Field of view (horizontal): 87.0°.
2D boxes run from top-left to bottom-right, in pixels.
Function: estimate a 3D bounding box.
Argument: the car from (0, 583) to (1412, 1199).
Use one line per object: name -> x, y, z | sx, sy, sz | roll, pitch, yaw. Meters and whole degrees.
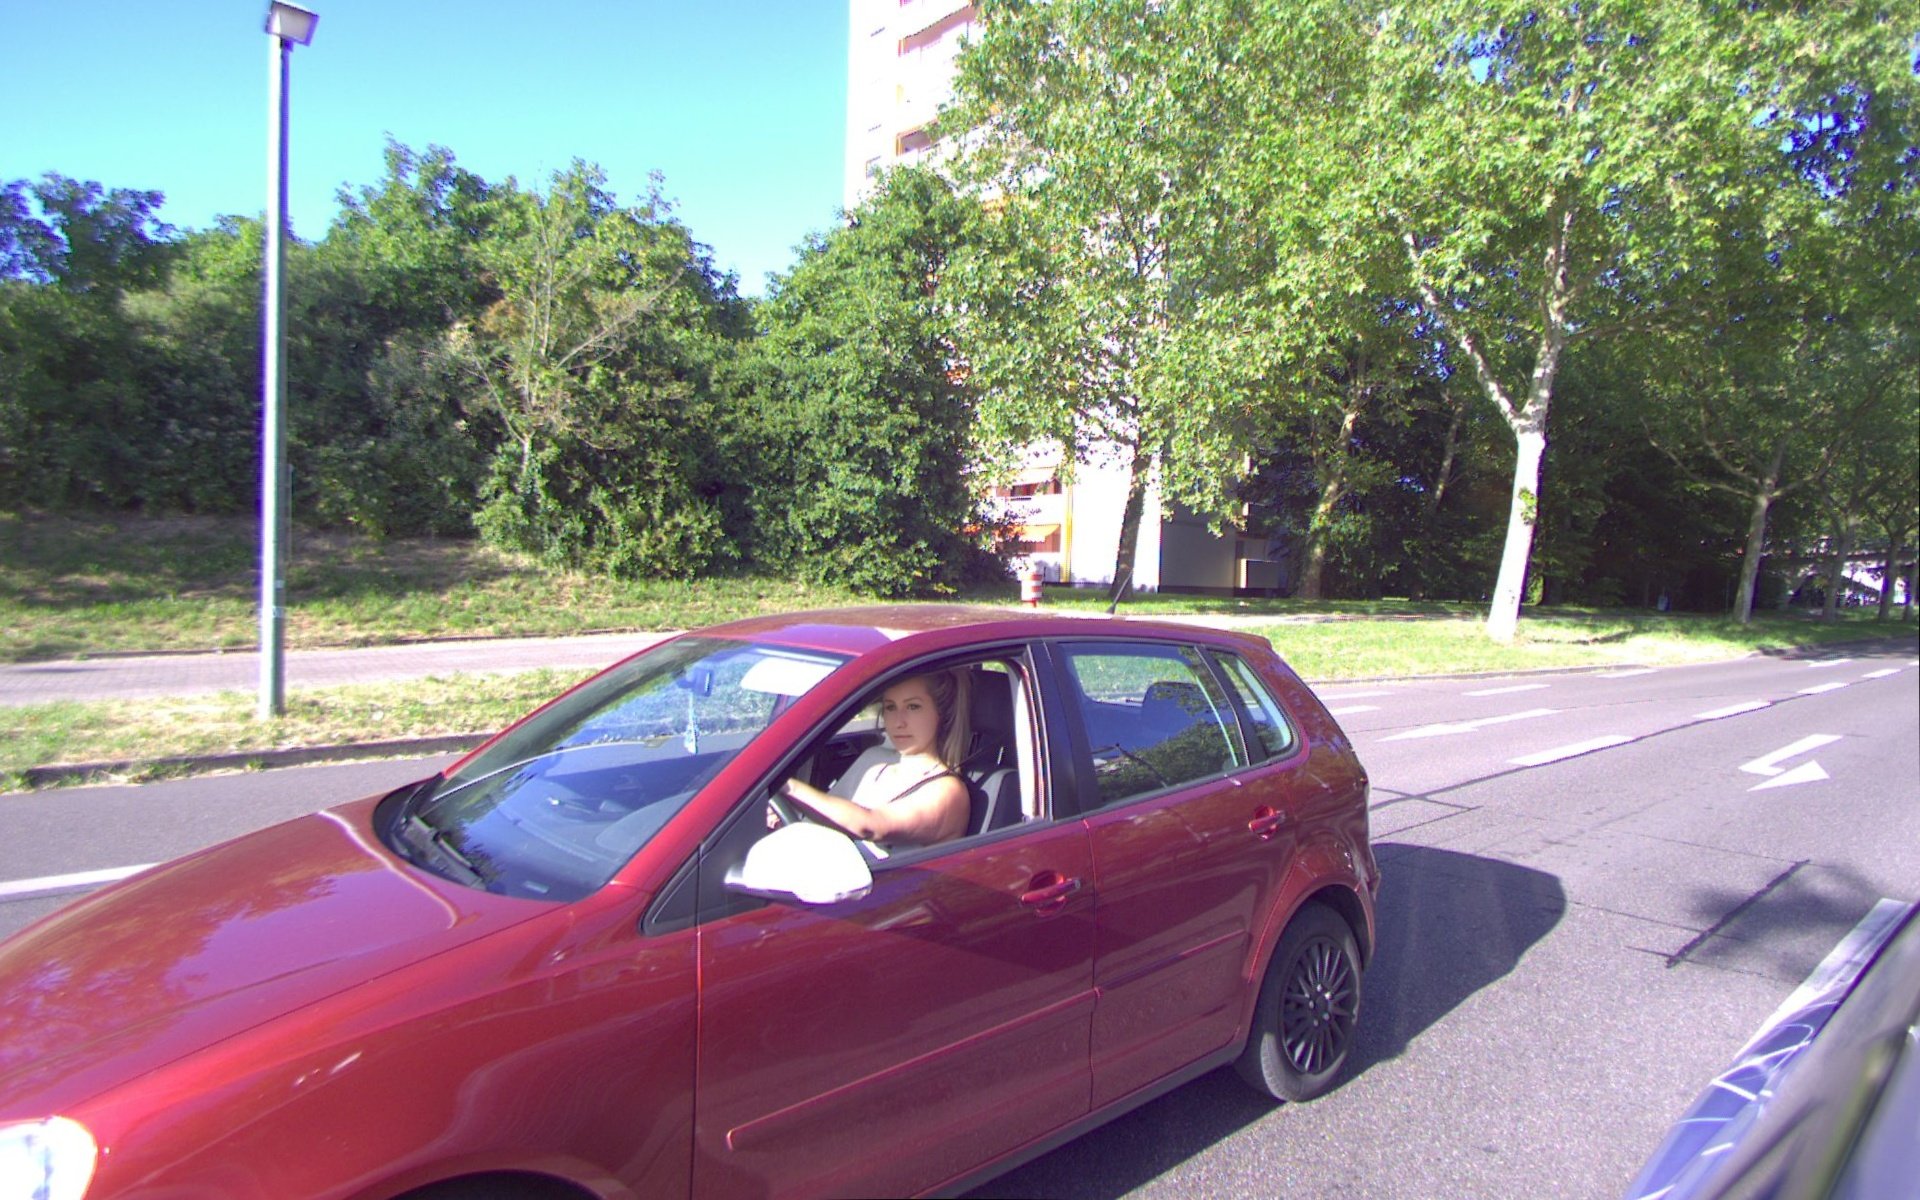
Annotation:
car -> -0.473, 0.693, 2.746 | 3.627, 1.434, 1.626 | 0, 1, -39
